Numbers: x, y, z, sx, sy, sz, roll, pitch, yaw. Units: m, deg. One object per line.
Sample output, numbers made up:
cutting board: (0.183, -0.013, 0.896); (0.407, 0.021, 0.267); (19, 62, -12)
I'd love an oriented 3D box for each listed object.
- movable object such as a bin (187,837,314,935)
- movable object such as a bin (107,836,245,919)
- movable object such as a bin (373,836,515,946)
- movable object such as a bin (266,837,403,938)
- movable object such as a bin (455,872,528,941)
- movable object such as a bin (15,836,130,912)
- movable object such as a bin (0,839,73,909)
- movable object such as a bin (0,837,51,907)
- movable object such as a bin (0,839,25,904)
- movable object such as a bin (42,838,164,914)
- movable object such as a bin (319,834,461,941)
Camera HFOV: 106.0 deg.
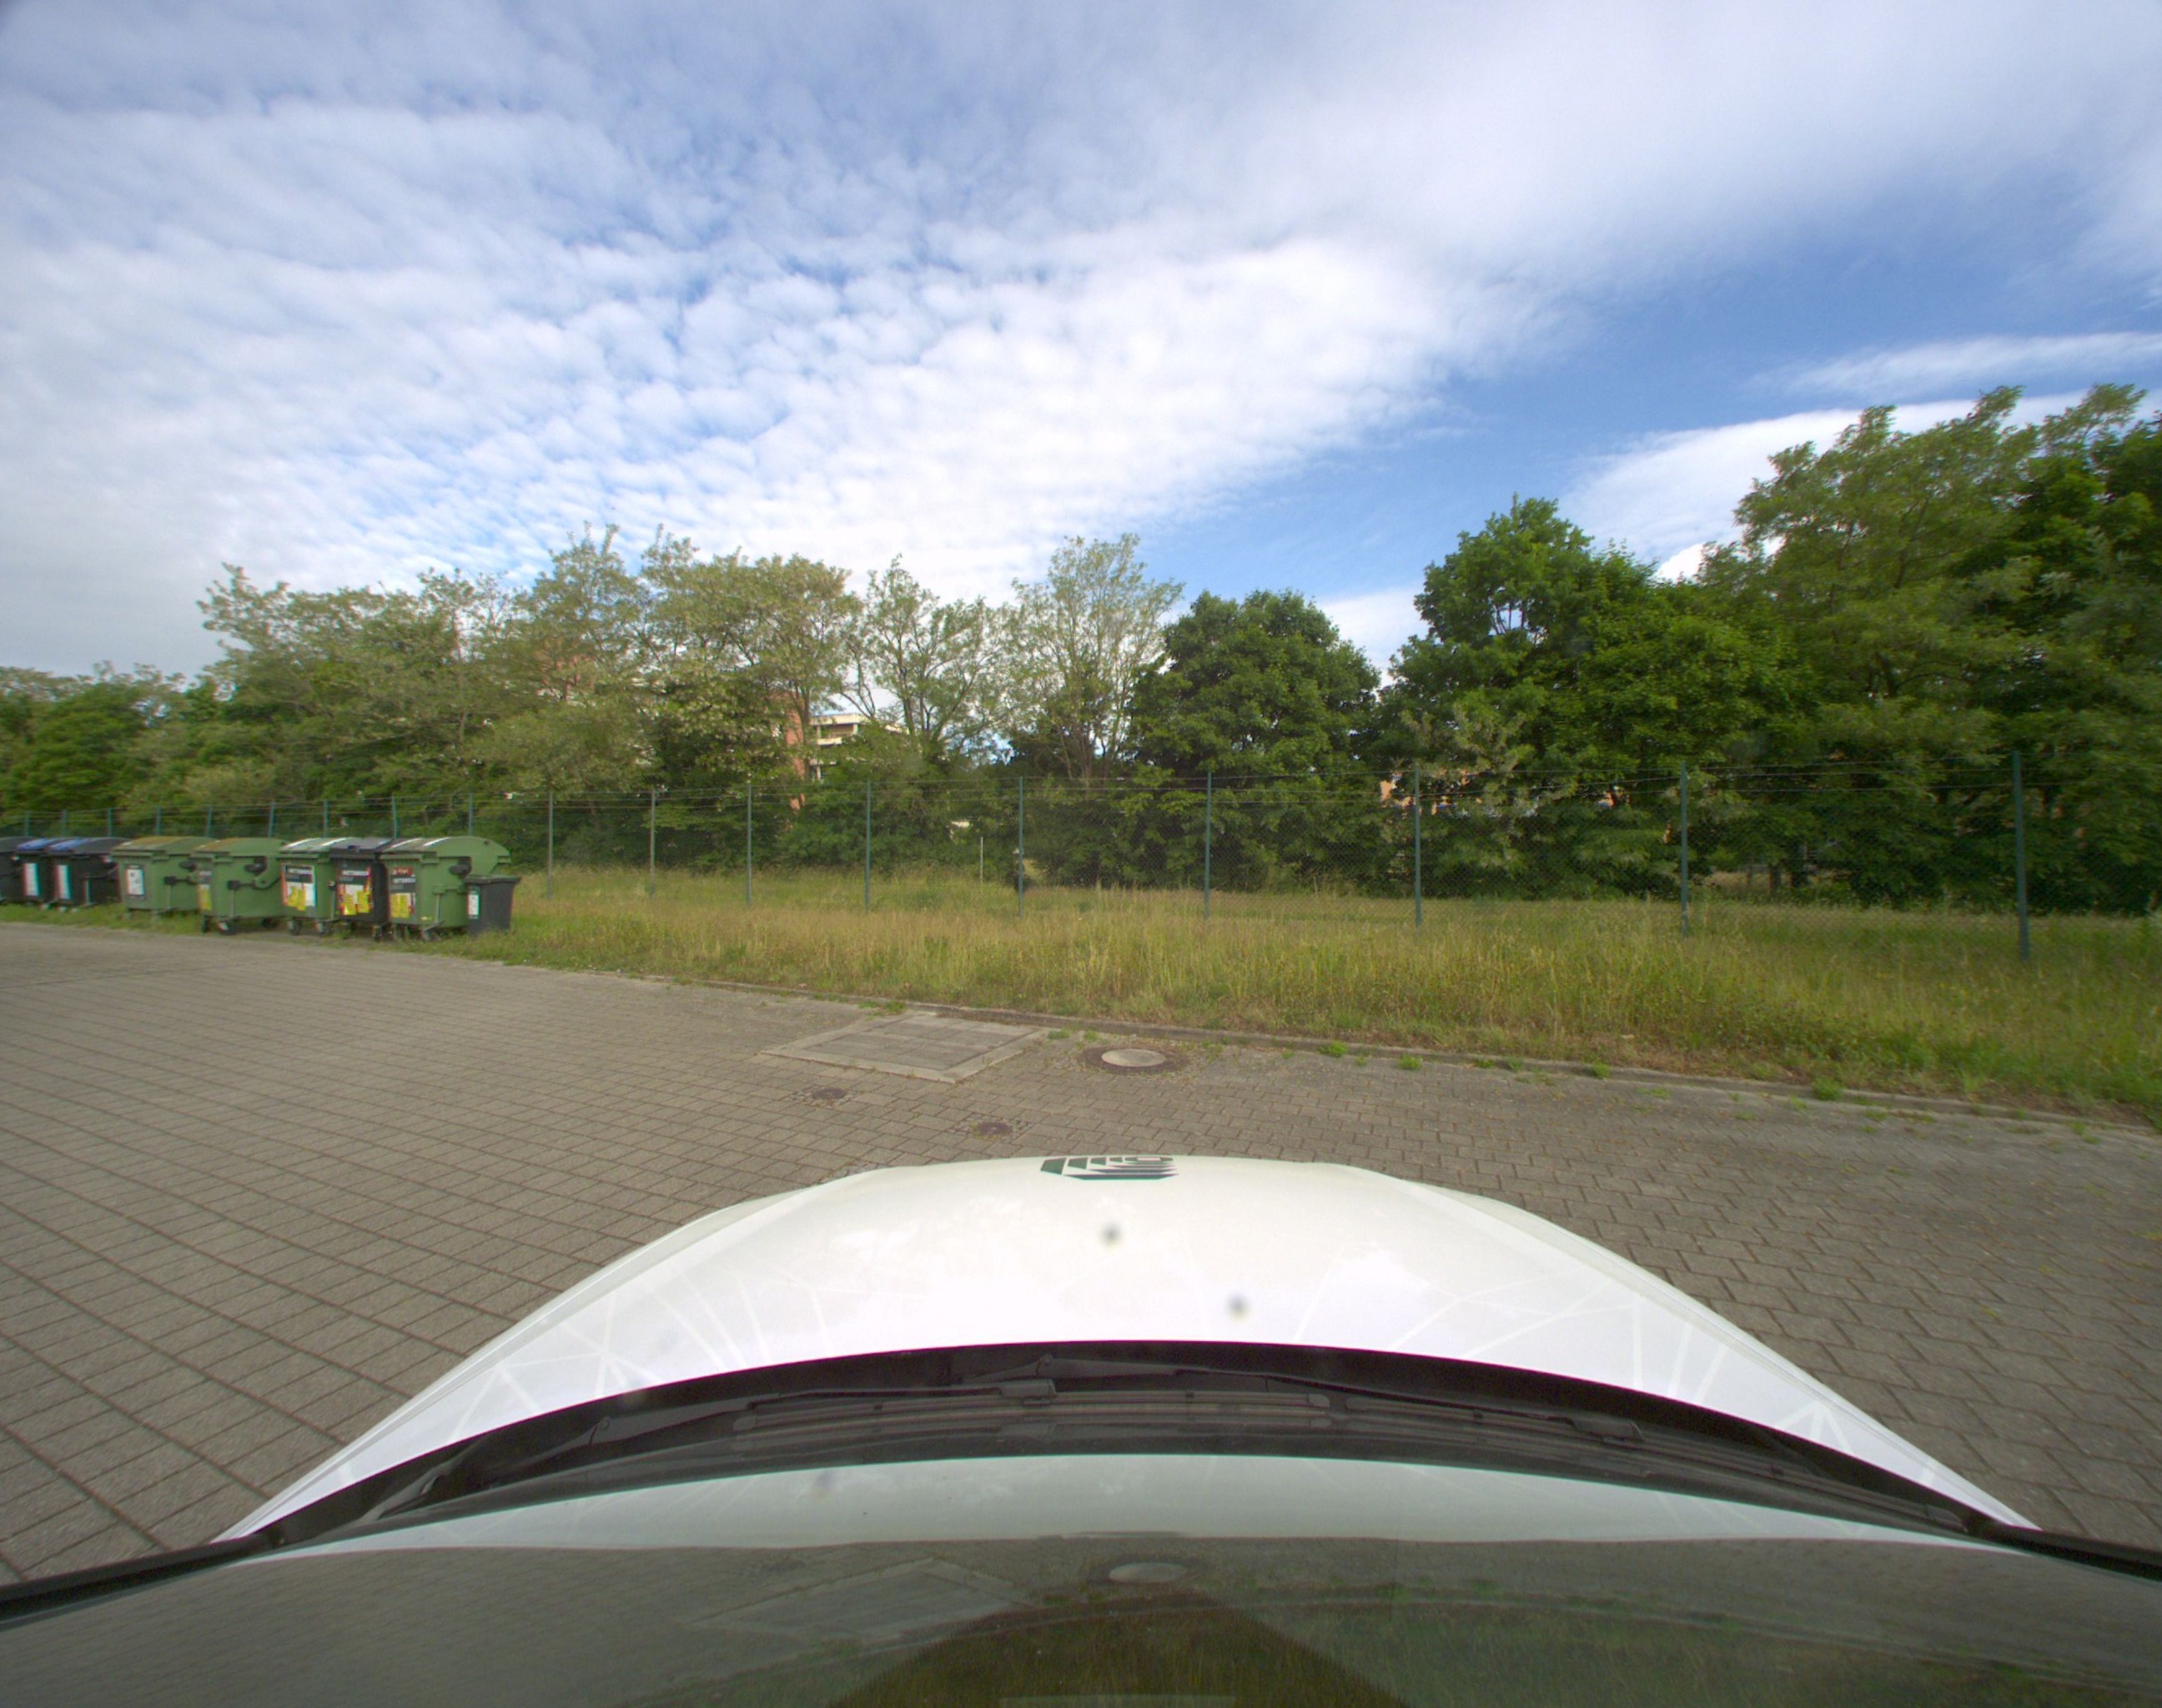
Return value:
movable object such as a bin: (-12.731, 0.457, 12.491); (1.367, 1.398, 1.133); (-1, 0, 34)
movable object such as a bin: (-15.056, 0.374, 13.569); (1.363, 1.296, 1.132); (0, 0, 22)
movable object such as a bin: (-8.706, 0.469, 11.150); (1.339, 1.395, 1.139); (-1, 0, 32)
movable object such as a bin: (-11.153, 0.475, 12.185); (1.368, 1.406, 1.079); (0, 0, 26)
movable object such as a bin: (-7.812, 0.676, 10.795); (0.578, 0.866, 0.605); (-1, 0, 32)
movable object such as a bin: (-19.324, 0.372, 15.611); (1.474, 1.374, 1.133); (-1, 0, 29)
movable object such as a bin: (-20.804, 0.369, 15.935); (1.308, 1.321, 1.133); (0, 1, 29)
movable object such as a bin: (-21.956, 0.358, 16.510); (1.308, 1.379, 1.133); (-1, 0, 29)
movable object such as a bin: (-23.249, 0.373, 17.073); (1.408, 1.350, 1.133); (-1, 0, 29)
movable object such as a bin: (-17.917, 0.387, 14.931); (1.474, 1.325, 1.165); (-1, 0, 29)
movable object such as a bin: (-9.923, 0.456, 11.712); (1.381, 1.435, 1.079); (0, 0, 26)
